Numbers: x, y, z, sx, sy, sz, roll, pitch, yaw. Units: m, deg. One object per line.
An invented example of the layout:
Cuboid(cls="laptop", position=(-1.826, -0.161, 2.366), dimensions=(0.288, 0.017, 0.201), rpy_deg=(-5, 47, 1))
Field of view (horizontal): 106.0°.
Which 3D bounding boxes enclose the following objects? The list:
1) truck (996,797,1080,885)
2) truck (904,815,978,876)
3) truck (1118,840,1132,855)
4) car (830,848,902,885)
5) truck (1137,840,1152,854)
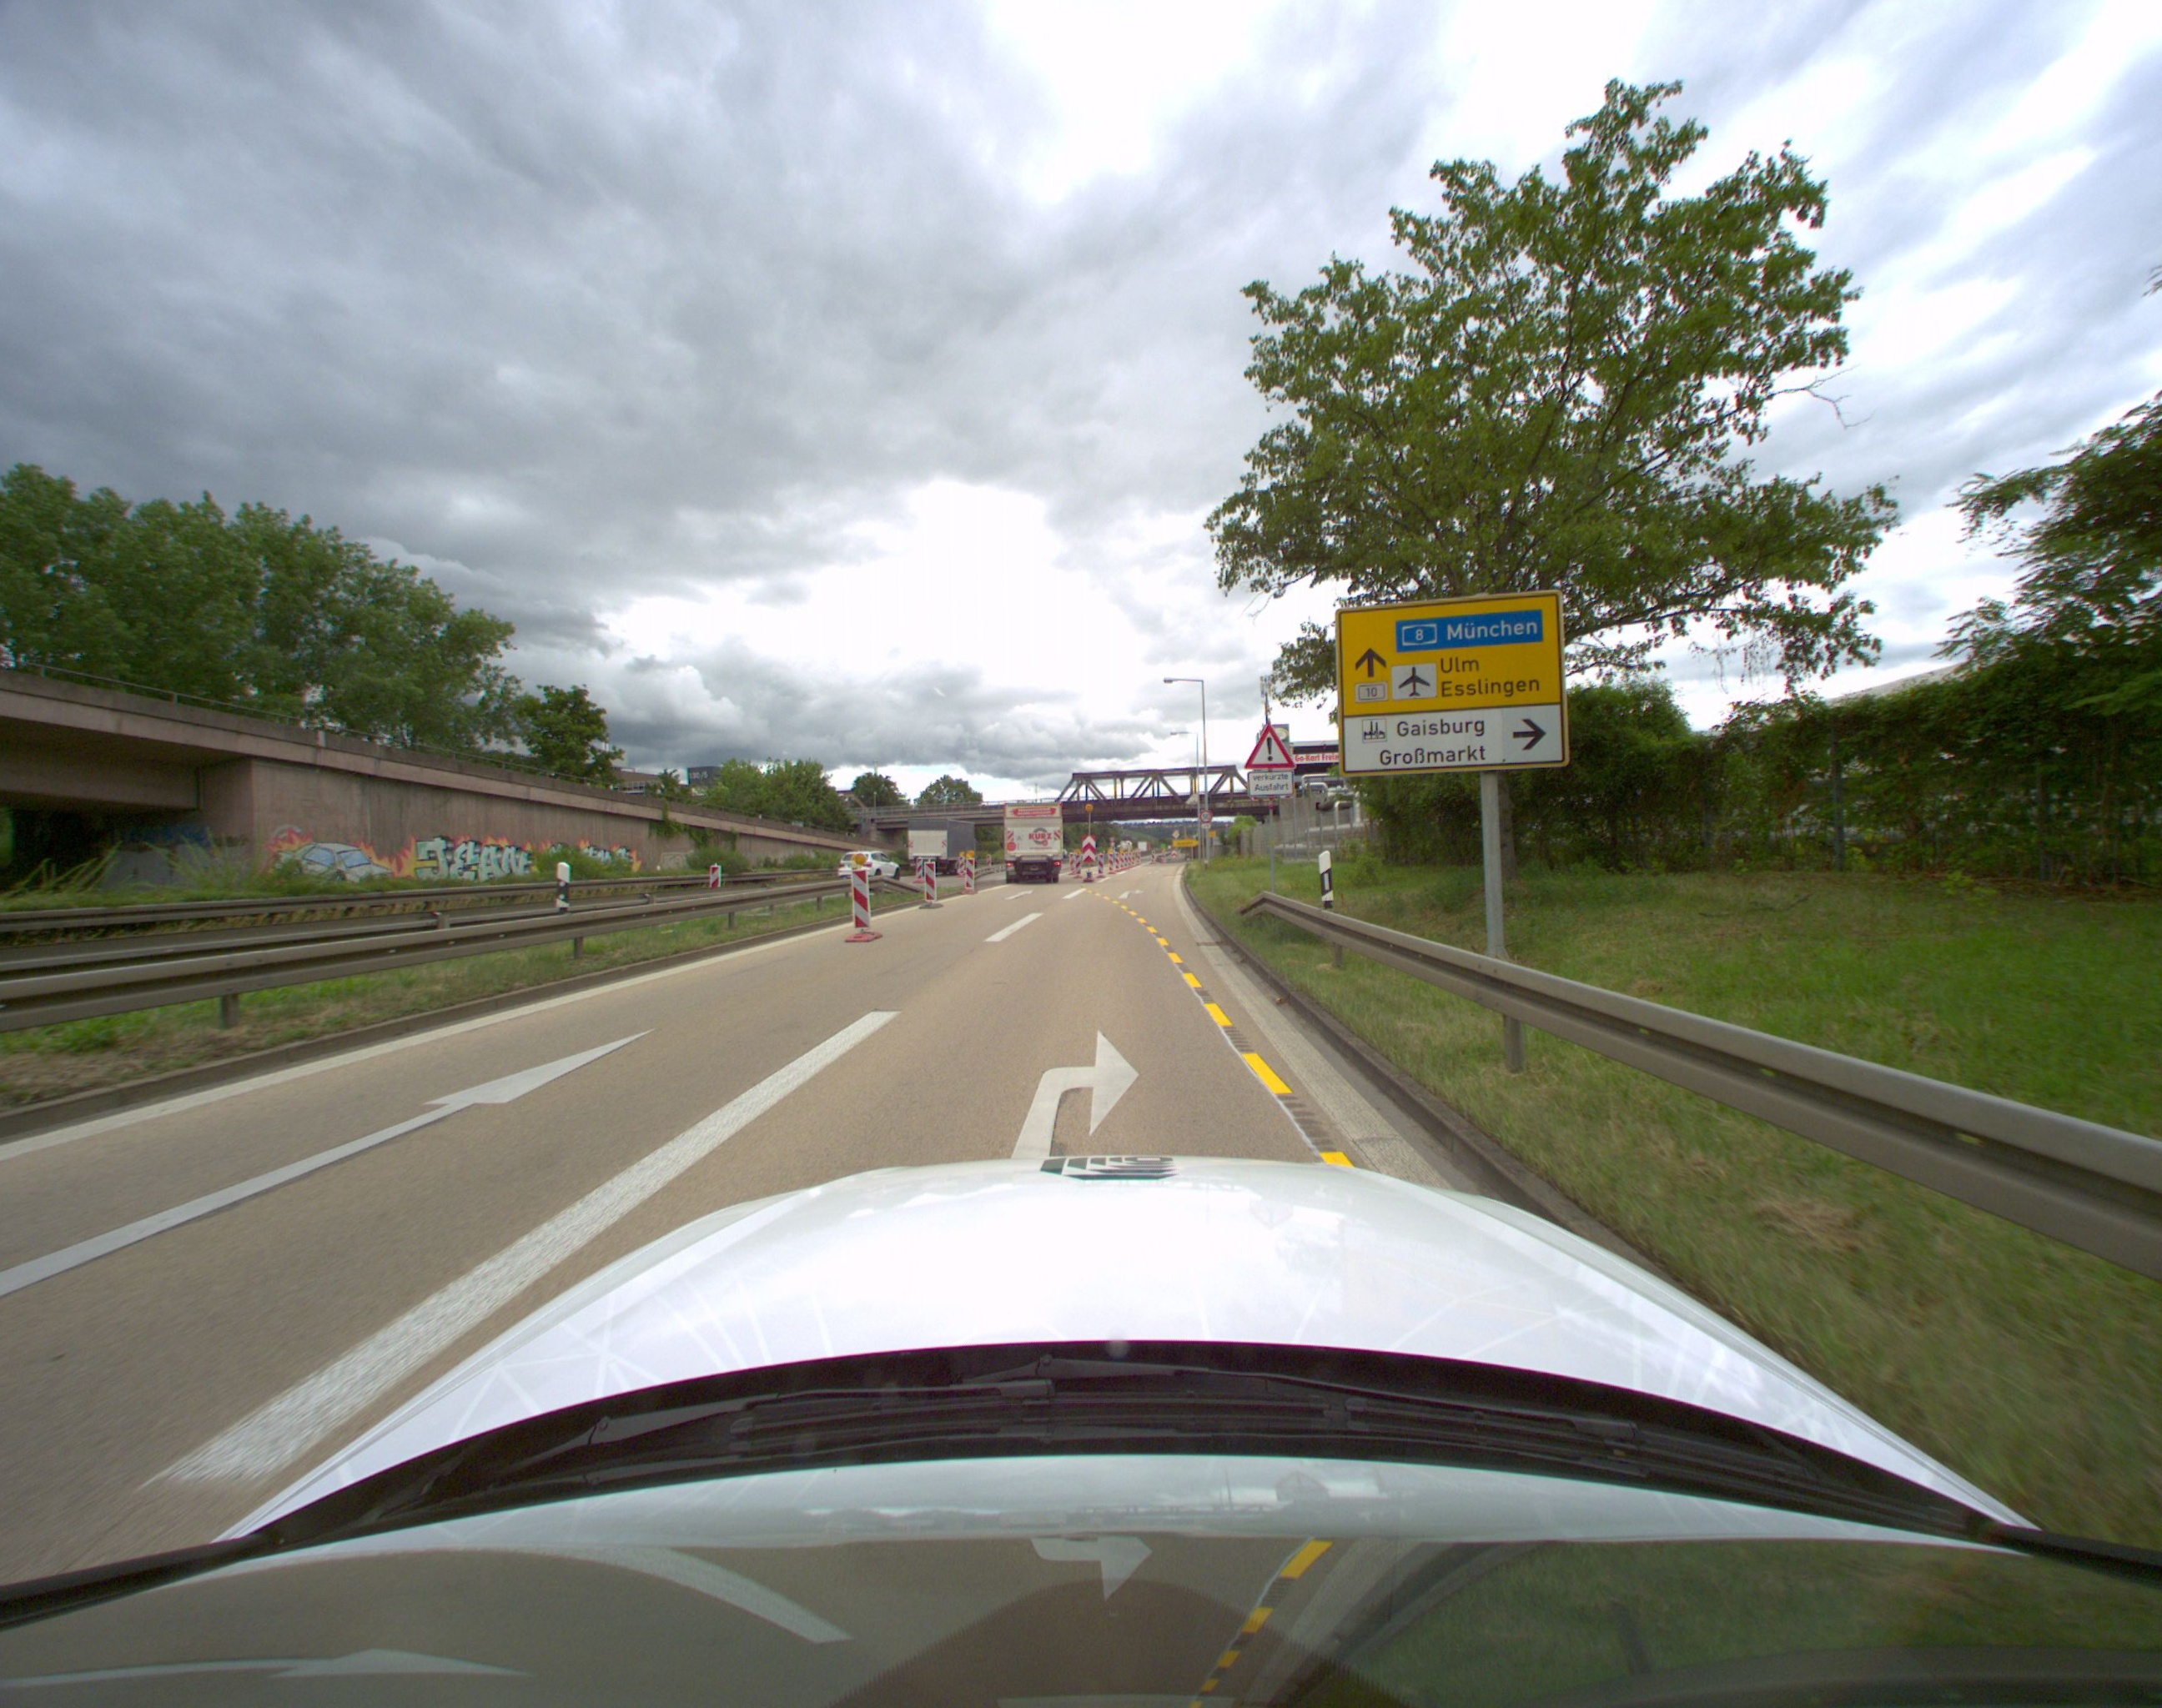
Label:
Cuboid(cls="truck", position=(-1.830, -0.494, 38.628), dimensions=(3.038, 3.673, 7.933), rpy_deg=(-1, -1, 3))
Cuboid(cls="truck", position=(-9.120, -0.495, 53.920), dimensions=(3.037, 3.656, 7.404), rpy_deg=(-1, -1, 4))
Cuboid(cls="truck", position=(11.457, -1.668, 210.756), dimensions=(3.272, 3.853, 7.672), rpy_deg=(-1, -1, 4))
Cuboid(cls="car", position=(-10.595, 0.603, 40.446), dimensions=(1.982, 1.713, 4.110), rpy_deg=(-2, -1, 8))
Cuboid(cls="truck", position=(18.016, -1.979, 229.959), dimensions=(3.892, 3.549, 8.145), rpy_deg=(-1, -1, 2))
